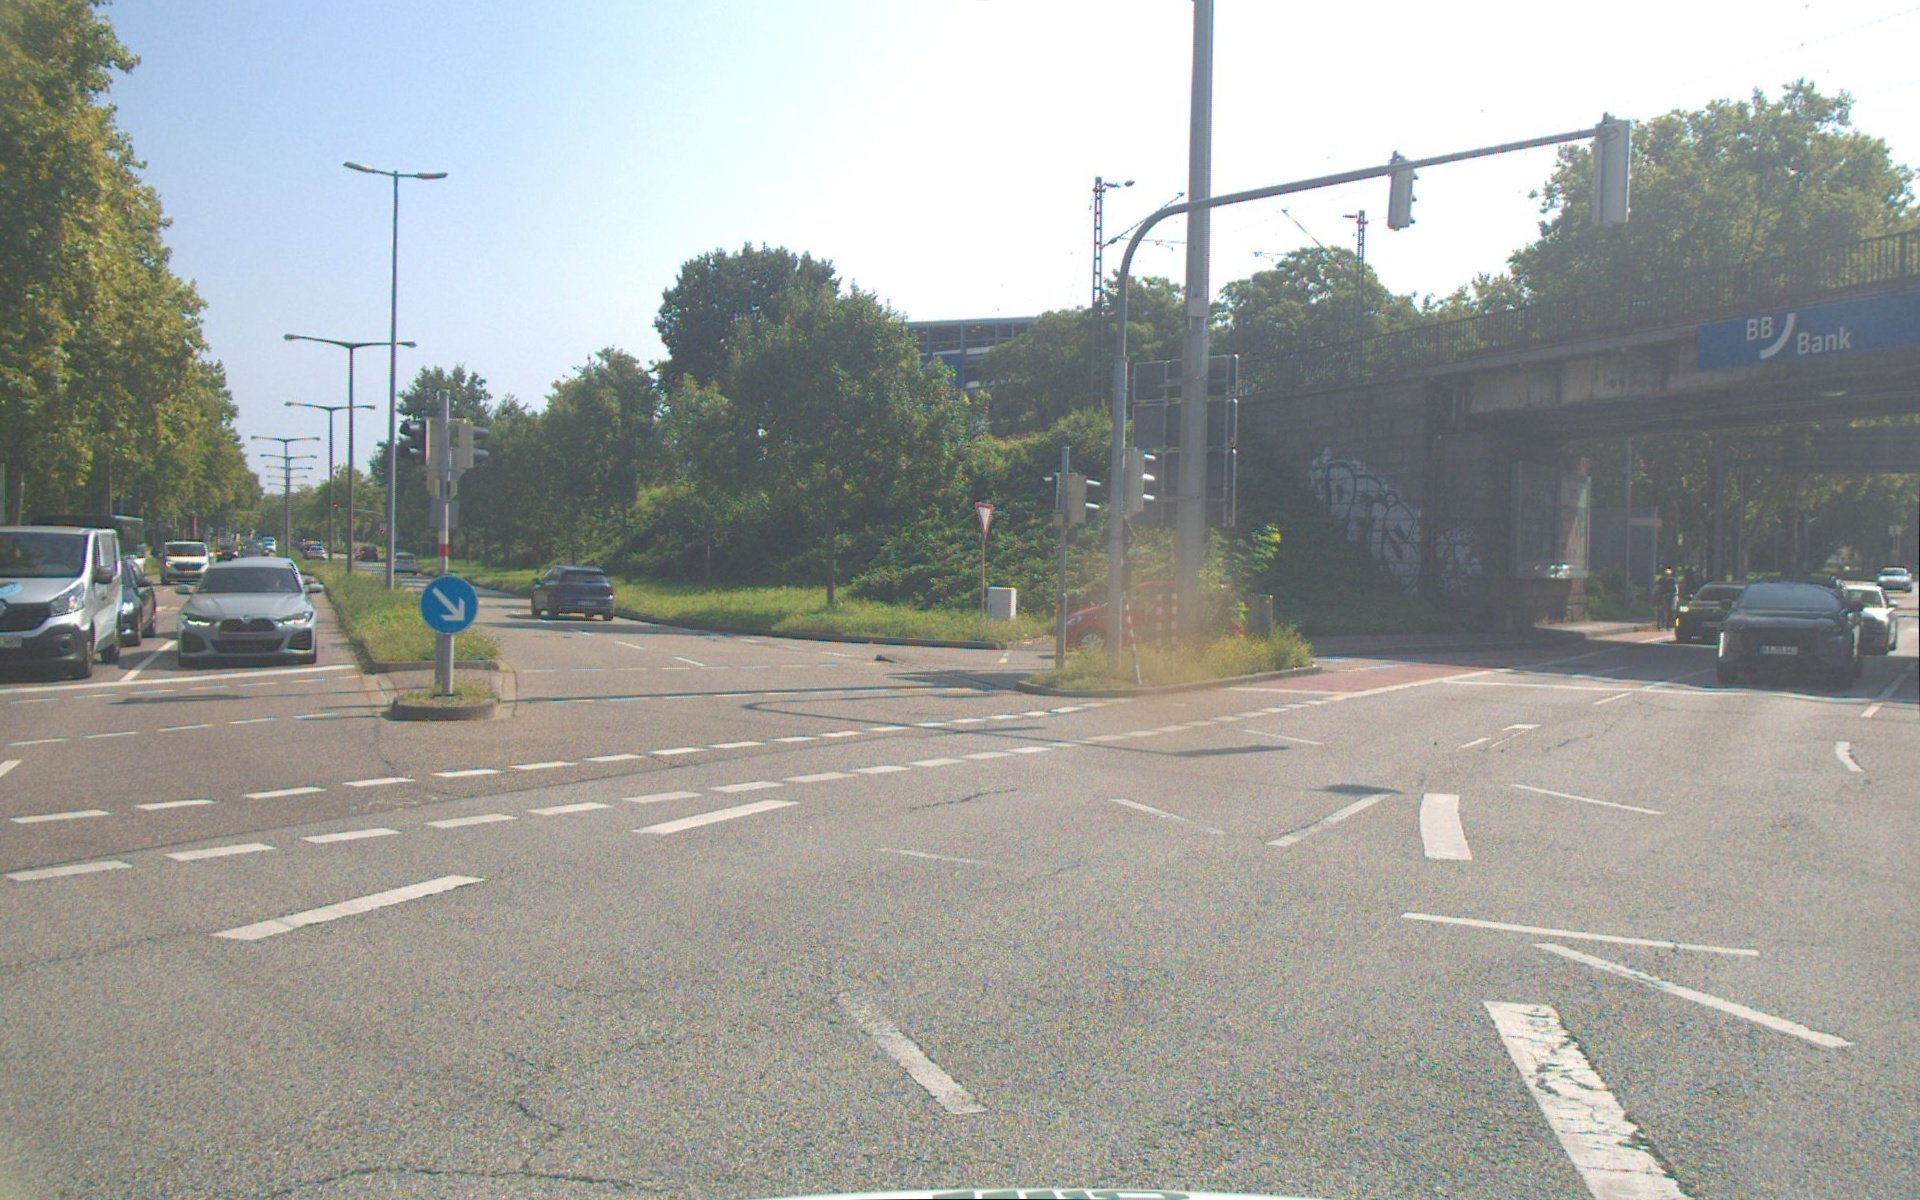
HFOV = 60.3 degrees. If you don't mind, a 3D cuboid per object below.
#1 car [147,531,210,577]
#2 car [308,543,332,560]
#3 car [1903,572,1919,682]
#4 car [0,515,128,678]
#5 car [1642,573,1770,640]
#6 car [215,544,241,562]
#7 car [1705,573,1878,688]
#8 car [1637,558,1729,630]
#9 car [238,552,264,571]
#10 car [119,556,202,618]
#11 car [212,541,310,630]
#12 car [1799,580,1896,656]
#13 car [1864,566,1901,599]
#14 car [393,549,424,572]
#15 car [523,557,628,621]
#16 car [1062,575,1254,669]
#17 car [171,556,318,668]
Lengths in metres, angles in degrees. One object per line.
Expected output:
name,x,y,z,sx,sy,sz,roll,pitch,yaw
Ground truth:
car,-36.079,-2.155,76.286,1.910,1.994,5.131,-2,3,-33
car,-66.159,-4.983,170.906,1.962,1.731,3.982,0,1,-17
car,17.143,0.446,27.943,1.956,1.600,4.342,3,4,29
car,-12.614,-0.155,22.574,1.901,1.991,5.177,0,2,-23
car,18.504,0.112,40.911,1.960,1.488,4.870,1,2,35
car,-68.757,-4.374,155.337,1.826,1.633,4.565,1,1,-30
car,13.254,0.411,26.216,1.869,1.645,4.460,1,1,34
car,21.412,-0.215,48.895,1.957,1.880,3.993,5,3,30
car,-61.206,-3.318,142.814,1.820,1.515,4.614,-2,2,-22
car,-21.387,-0.390,44.373,1.644,1.561,3.707,-2,2,-21
car,-13.303,-0.234,31.563,1.592,1.562,4.072,-2,0,-22
car,19.285,0.342,35.882,1.659,1.384,3.993,5,3,30
car,62.320,-1.211,111.705,1.957,2.048,3.993,5,3,30
car,-41.591,-2.982,124.775,1.966,1.683,3.973,0,1,-23
car,-10.642,-0.327,45.638,1.761,1.452,3.963,2,4,-29
car,3.774,0.396,31.758,3.468,1.492,1.645,4,2,5
car,-10.675,0.095,24.794,1.811,1.468,4.574,-2,2,-23
